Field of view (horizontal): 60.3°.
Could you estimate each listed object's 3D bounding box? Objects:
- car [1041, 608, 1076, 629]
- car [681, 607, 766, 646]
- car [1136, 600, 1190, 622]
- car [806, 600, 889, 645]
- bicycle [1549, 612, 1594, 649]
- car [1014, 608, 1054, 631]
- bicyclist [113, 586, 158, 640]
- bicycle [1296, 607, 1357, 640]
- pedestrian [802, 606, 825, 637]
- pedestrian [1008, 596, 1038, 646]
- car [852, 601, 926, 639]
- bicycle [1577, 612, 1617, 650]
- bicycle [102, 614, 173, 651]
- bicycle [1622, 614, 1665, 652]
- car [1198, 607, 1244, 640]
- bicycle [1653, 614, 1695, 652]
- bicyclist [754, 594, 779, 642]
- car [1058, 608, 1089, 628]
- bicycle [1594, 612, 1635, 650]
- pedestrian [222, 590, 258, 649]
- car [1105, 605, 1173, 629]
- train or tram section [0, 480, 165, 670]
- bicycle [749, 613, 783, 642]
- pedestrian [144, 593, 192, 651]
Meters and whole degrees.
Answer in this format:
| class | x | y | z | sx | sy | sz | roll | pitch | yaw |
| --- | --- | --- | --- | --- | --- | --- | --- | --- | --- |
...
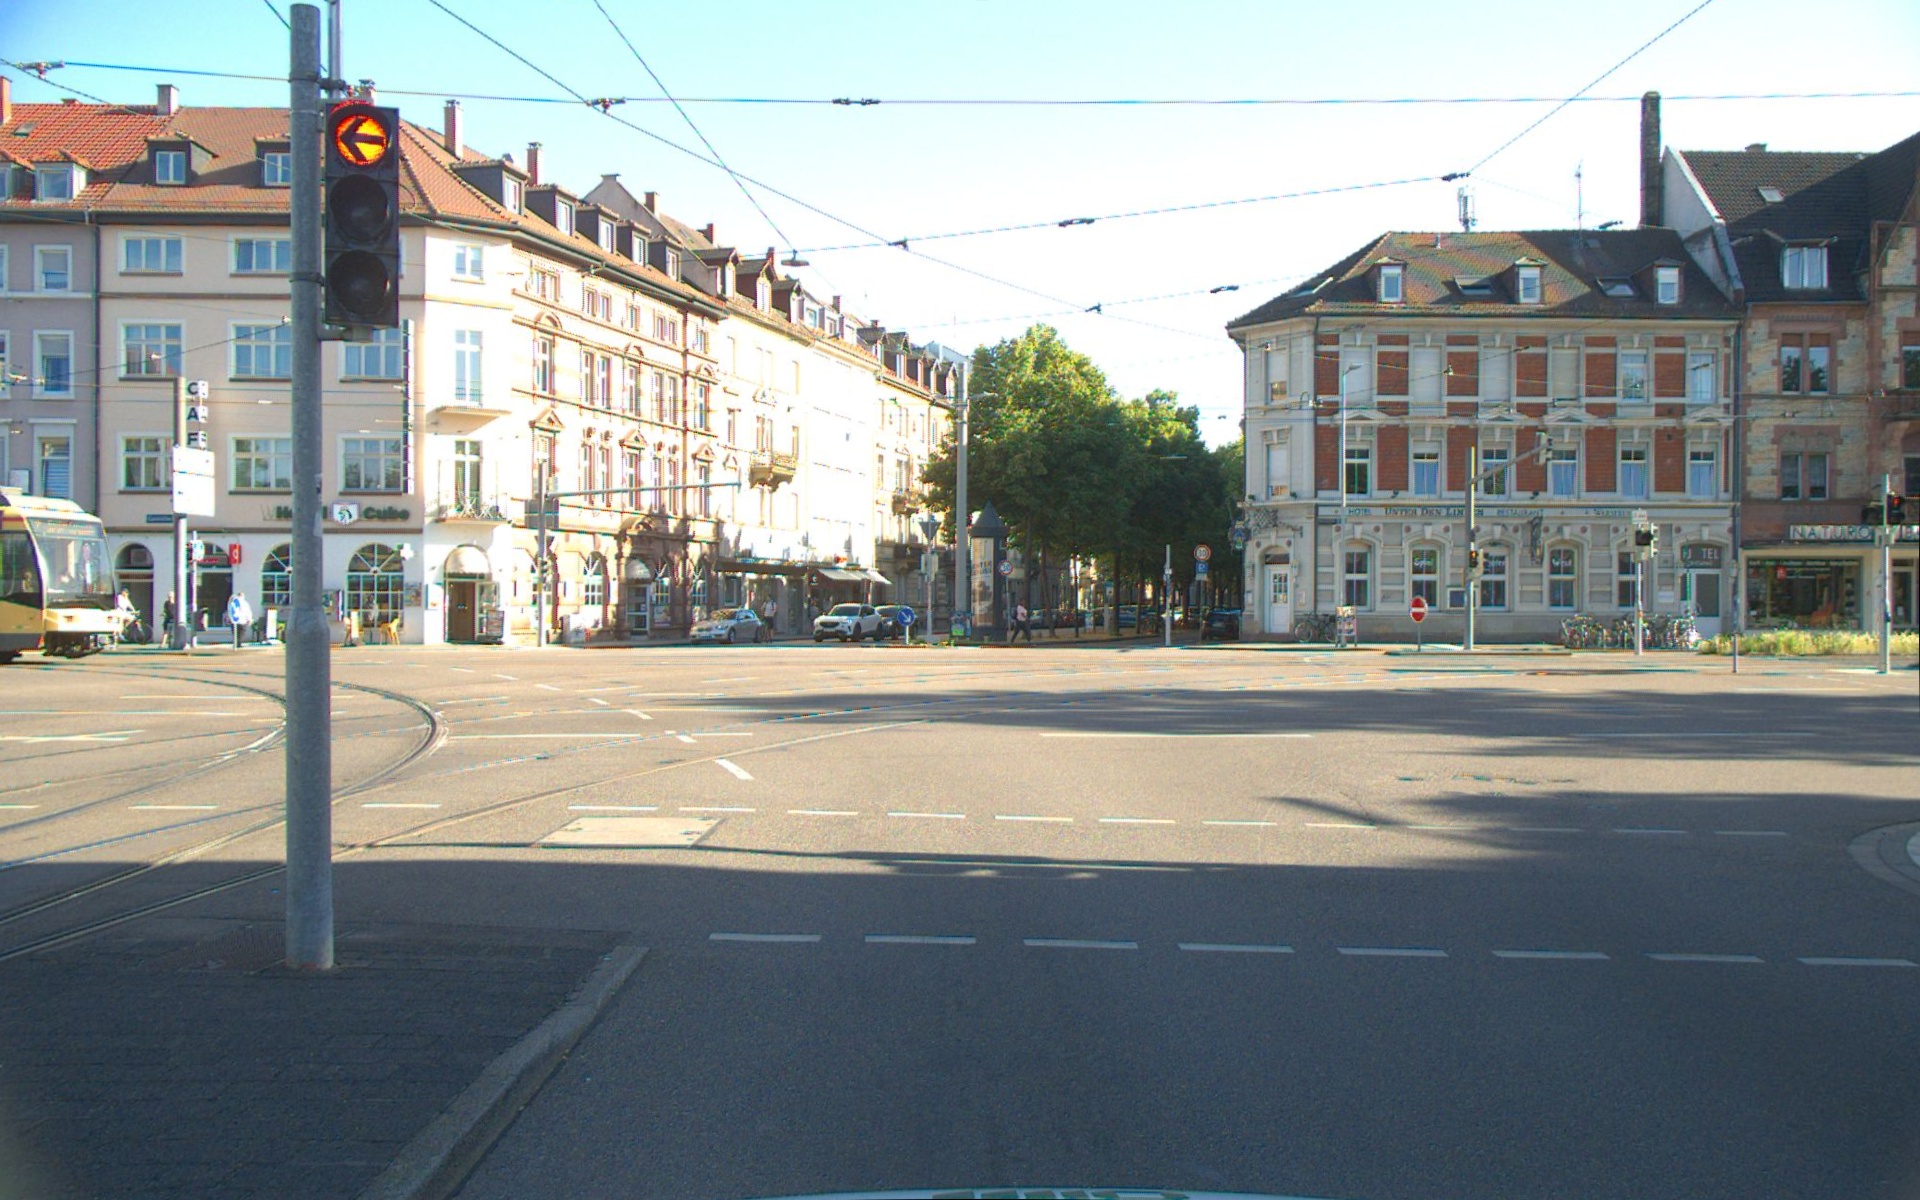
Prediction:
| class | x | y | z | sx | sy | sz | roll | pitch | yaw |
| --- | --- | --- | --- | --- | --- | --- | --- | --- | --- |
| car | 7.779 | 1.427 | 130.562 | 1.798 | 1.579 | 4.393 | 0 | 0 | 16 |
| car | -9.525 | 1.038 | 66.898 | 1.858 | 1.481 | 4.002 | 0 | 0 | 17 |
| car | 16.417 | 0.888 | 133.872 | 3.912 | 1.736 | 1.996 | 0 | 0 | 30 |
| car | -4.541 | 0.886 | 67.252 | 1.951 | 1.713 | 4.393 | 0 | 0 | 17 |
| bicycle | 19.823 | 0.984 | 53.658 | 0.789 | 1.163 | 2.175 | 0 | 0 | 4 |
| car | 5.526 | 1.429 | 122.737 | 1.951 | 1.640 | 4.393 | 0 | 0 | 17 |
| bicyclist | -27.709 | 0.437 | 55.617 | 1.142 | 1.806 | 0.748 | 0 | 0 | -2 |
| bicycle | 12.752 | 0.816 | 57.582 | 2.045 | 1.144 | 0.366 | 1 | -1 | -5 |
| pedestrian | -7.545 | 1.118 | 85.244 | 0.908 | 1.562 | 1.138 | 0 | 0 | 13 |
| pedestrian | 2.227 | 0.733 | 58.311 | 1.024 | 1.774 | 0.809 | 0 | 0 | 5 |
| car | -3.147 | 0.864 | 73.787 | 1.951 | 1.640 | 4.393 | 0 | 0 | 17 |
| bicycle | 20.594 | 0.995 | 53.539 | 0.605 | 1.163 | 2.175 | 0 | 0 | 4 |
| bicycle | -27.626 | 1.087 | 55.560 | 2.048 | 1.202 | 0.631 | 0 | 0 | -1 |
| bicycle | 22.074 | 1.051 | 53.450 | 0.605 | 1.163 | 2.175 | 0 | 0 | 4 |
| car | 13.071 | 1.160 | 82.633 | 1.951 | 1.613 | 4.003 | 0 | 0 | 13 |
| bicycle | 23.038 | 1.054 | 53.398 | 0.596 | 1.156 | 2.136 | 0 | 0 | 4 |
| bicyclist | -7.584 | 0.696 | 64.930 | 0.664 | 1.852 | 1.071 | 0 | 0 | 12 |
| car | 9.391 | 1.466 | 136.463 | 1.727 | 1.576 | 4.394 | 0 | 0 | 16 |
| bicycle | 21.166 | 0.989 | 53.509 | 0.605 | 1.163 | 2.175 | 0 | 0 | 4 |
| pedestrian | -22.316 | 0.593 | 51.257 | 0.993 | 1.806 | 0.934 | 0 | 0 | -25 |
| car | 12.503 | 1.201 | 115.529 | 4.290 | 1.640 | 1.998 | 0 | 0 | 26 |
| train or tram section | -20.374 | -0.480 | 33.556 | 7.768 | 3.561 | 2.826 | 0 | 0 | 16 |
| bicycle | -7.595 | 1.083 | 64.888 | 0.665 | 1.085 | 2.127 | 0 | 0 | 12 |
| pedestrian | -24.891 | 0.688 | 52.005 | 0.985 | 1.806 | 0.942 | 0 | 0 | 14 |
